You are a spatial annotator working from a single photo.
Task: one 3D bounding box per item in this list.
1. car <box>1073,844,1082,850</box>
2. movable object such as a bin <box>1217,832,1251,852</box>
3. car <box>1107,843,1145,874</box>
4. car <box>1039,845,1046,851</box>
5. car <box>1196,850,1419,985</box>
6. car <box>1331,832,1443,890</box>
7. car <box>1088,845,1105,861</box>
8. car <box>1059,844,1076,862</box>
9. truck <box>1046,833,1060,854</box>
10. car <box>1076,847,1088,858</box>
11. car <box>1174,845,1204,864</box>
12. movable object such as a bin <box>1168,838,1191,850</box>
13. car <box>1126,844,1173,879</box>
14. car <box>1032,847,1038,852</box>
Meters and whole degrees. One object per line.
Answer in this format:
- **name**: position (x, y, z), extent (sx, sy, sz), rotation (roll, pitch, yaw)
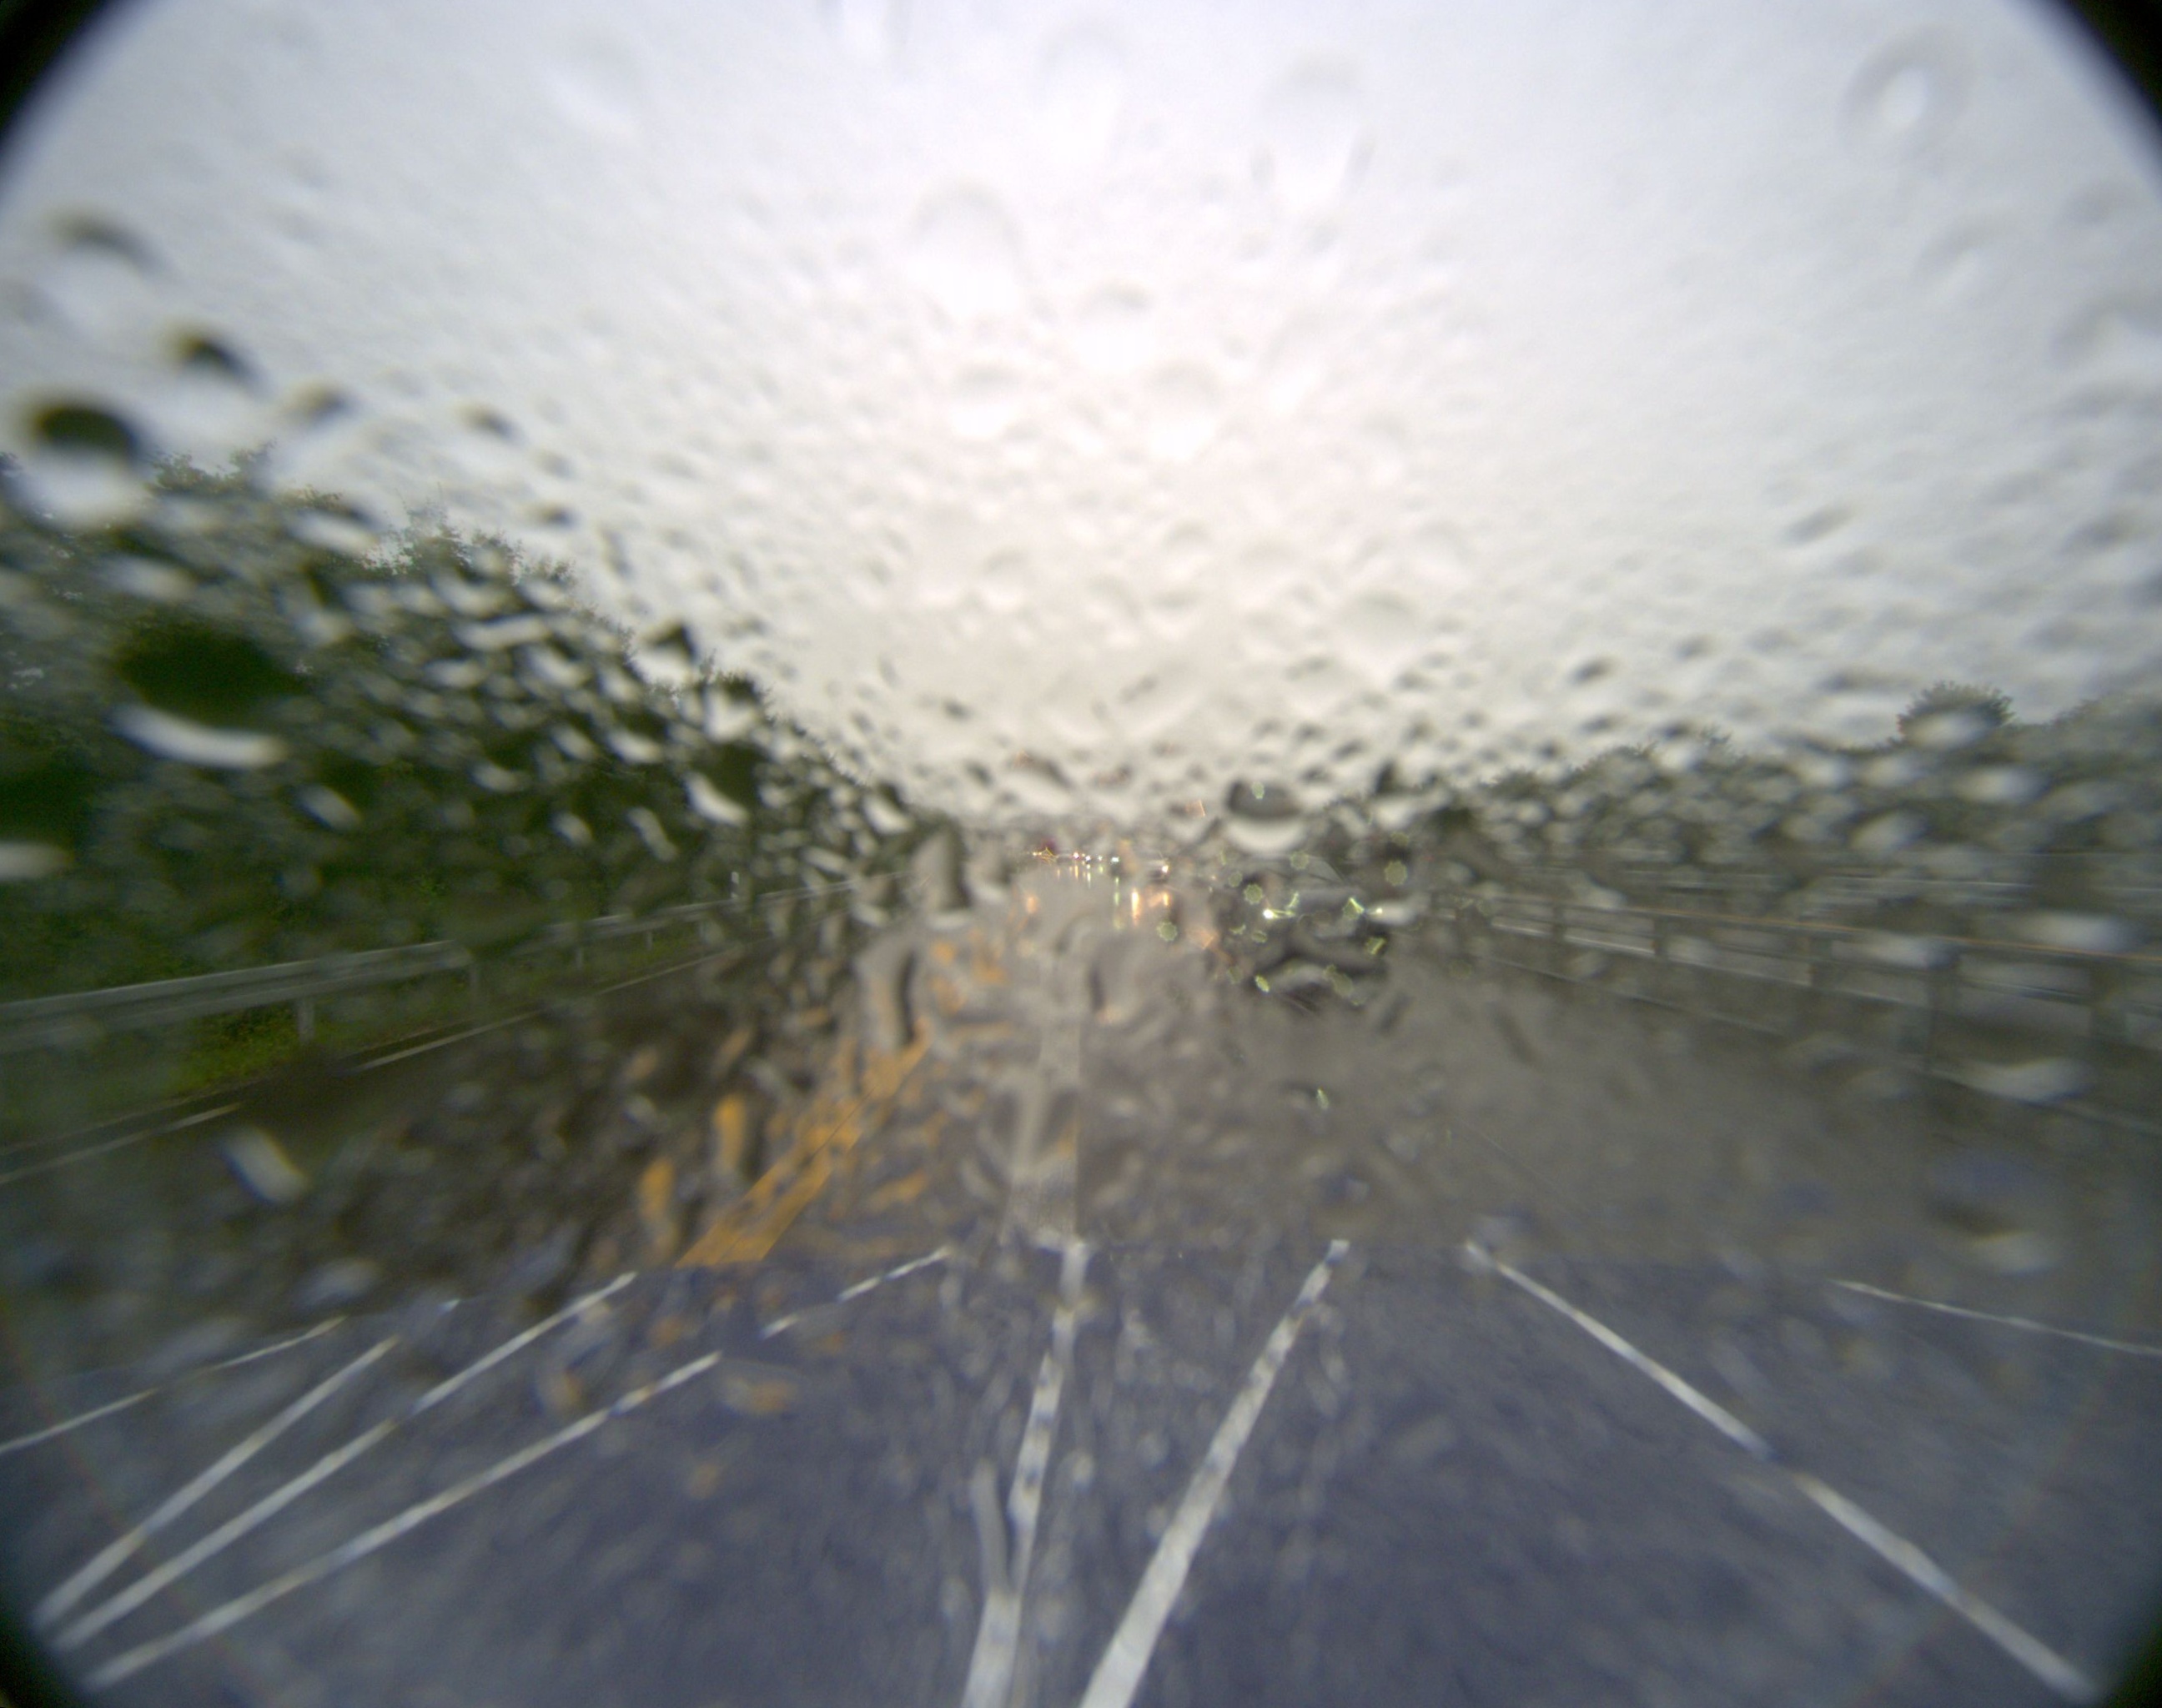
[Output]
- **car**: position (-0.961, -1.893, 209.541), extent (1.957, 1.707, 5.100), rotation (-3, 1, -5)
- **movable object such as a bin**: position (23.666, -1.831, 117.879), extent (3.775, 2.782, 6.328), rotation (-3, 1, -1)
- **car**: position (3.082, 0.267, 53.402), extent (2.211, 2.002, 5.562), rotation (-3, 1, -1)
- **car**: position (-10.601, -1.620, 211.082), extent (1.752, 1.579, 3.998), rotation (-3, 1, -2)
- **car**: position (3.047, 0.751, 11.365), extent (1.998, 1.489, 4.630), rotation (-2, 1, 1)
- **car**: position (9.546, 0.171, 24.123), extent (1.783, 1.595, 4.315), rotation (-3, 1, 0)
- **car**: position (1.860, -0.160, 90.627), extent (1.695, 1.740, 3.998), rotation (-3, 1, -2)
- **car**: position (-1.642, -0.131, 91.201), extent (1.882, 2.002, 3.998), rotation (-3, 1, -2)
- **truck**: position (-5.754, -2.099, 156.435), extent (2.484, 4.061, 8.701), rotation (-3, 1, -2)
- **car**: position (0.155, -0.244, 124.320), extent (1.845, 1.586, 3.998), rotation (-3, 1, -2)
- **car**: position (9.425, 0.036, 66.609), extent (1.852, 1.494, 4.129), rotation (-3, 1, -1)
- **movable object such as a bin**: position (20.663, -2.133, 159.171), extent (3.449, 2.281, 5.097), rotation (-3, 1, -8)
- **car**: position (3.277, 0.367, 37.129), extent (1.978, 1.586, 4.310), rotation (-2, 0, 1)
- **car**: position (-14.740, -1.507, 241.437), extent (1.752, 1.579, 3.998), rotation (-3, 1, -2)
